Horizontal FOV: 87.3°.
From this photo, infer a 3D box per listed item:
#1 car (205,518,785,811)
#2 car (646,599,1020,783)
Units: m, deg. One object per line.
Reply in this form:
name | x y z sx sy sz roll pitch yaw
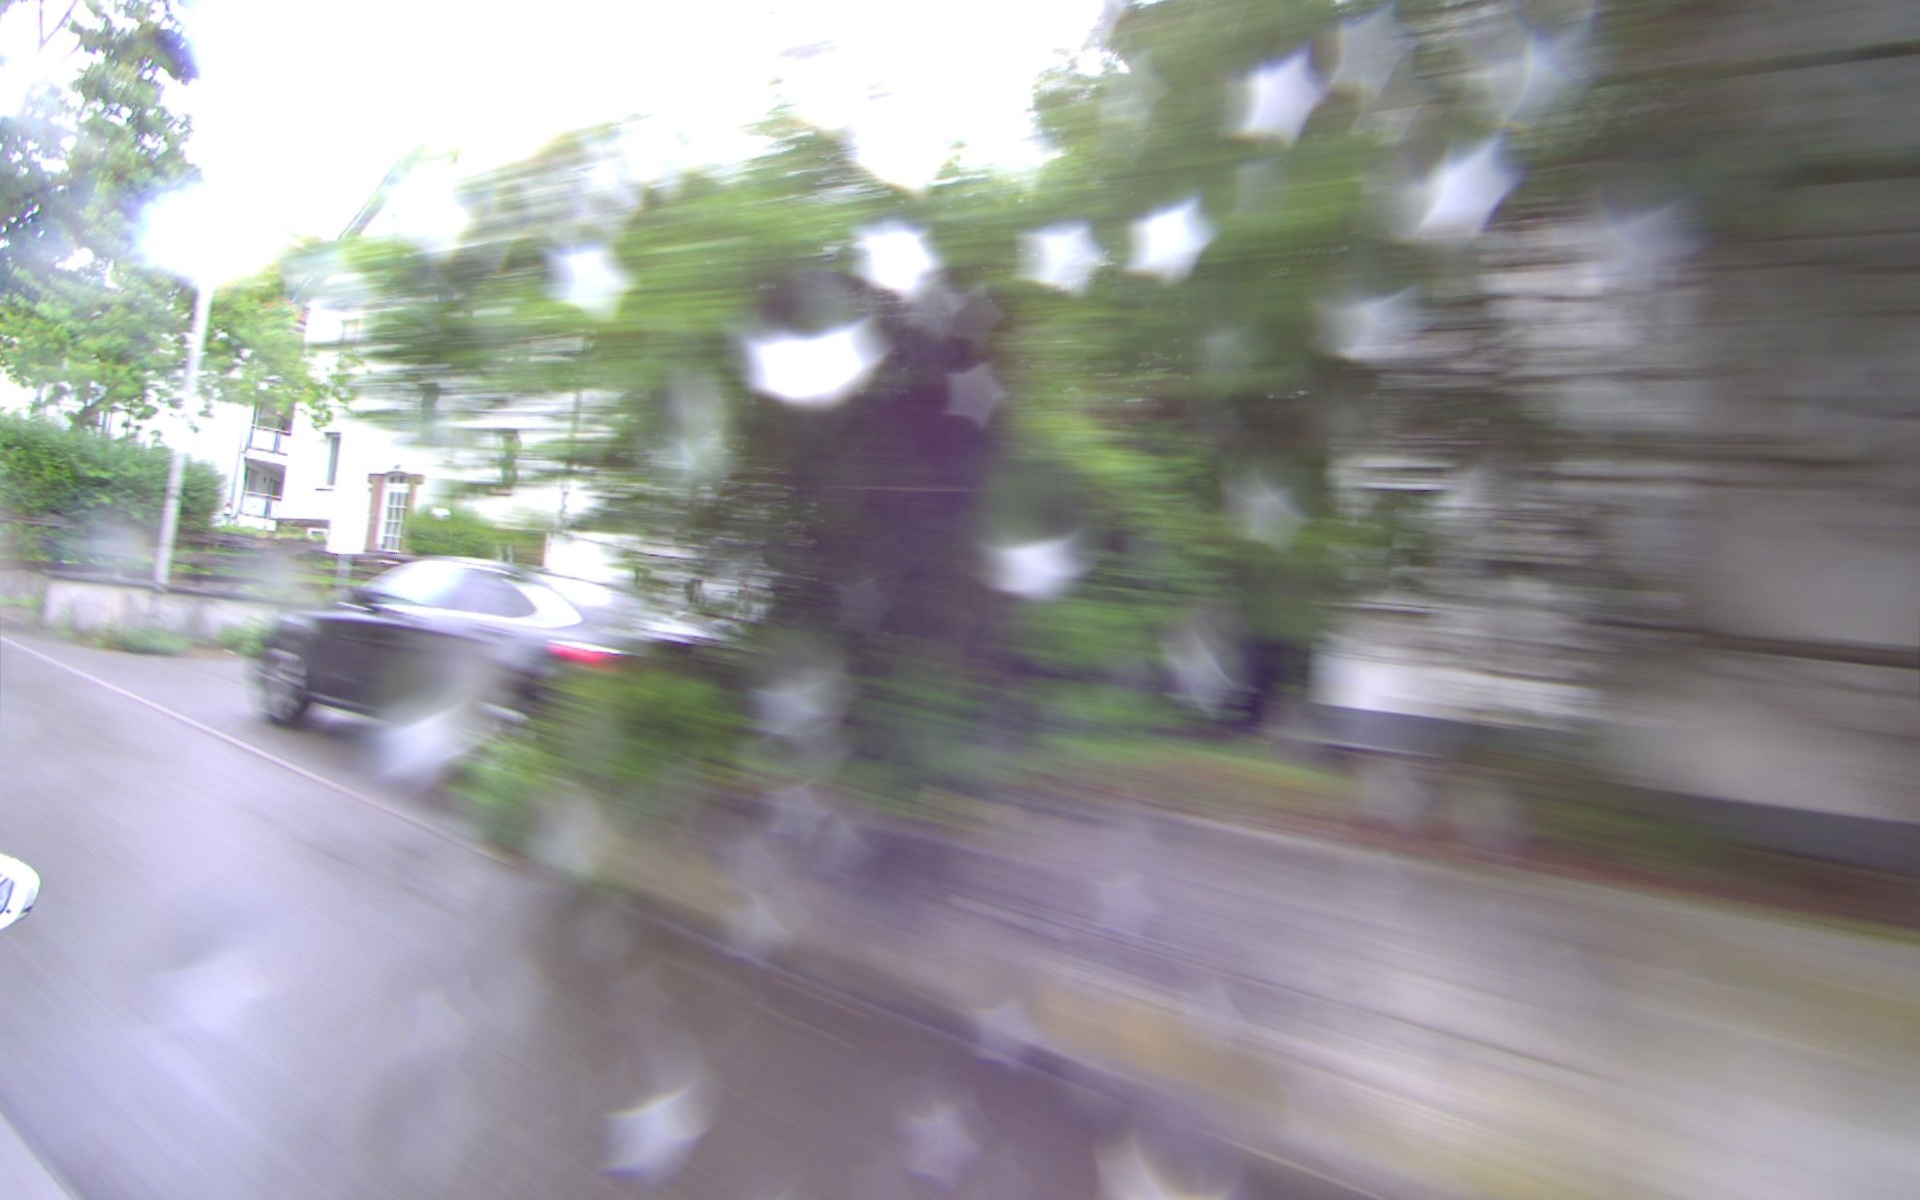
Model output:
car | -3.917 0.439 8.249 4.648 1.586 1.787 7 -5 30
car | -1.519 1.013 11.950 3.953 1.451 1.745 7 -2 25
